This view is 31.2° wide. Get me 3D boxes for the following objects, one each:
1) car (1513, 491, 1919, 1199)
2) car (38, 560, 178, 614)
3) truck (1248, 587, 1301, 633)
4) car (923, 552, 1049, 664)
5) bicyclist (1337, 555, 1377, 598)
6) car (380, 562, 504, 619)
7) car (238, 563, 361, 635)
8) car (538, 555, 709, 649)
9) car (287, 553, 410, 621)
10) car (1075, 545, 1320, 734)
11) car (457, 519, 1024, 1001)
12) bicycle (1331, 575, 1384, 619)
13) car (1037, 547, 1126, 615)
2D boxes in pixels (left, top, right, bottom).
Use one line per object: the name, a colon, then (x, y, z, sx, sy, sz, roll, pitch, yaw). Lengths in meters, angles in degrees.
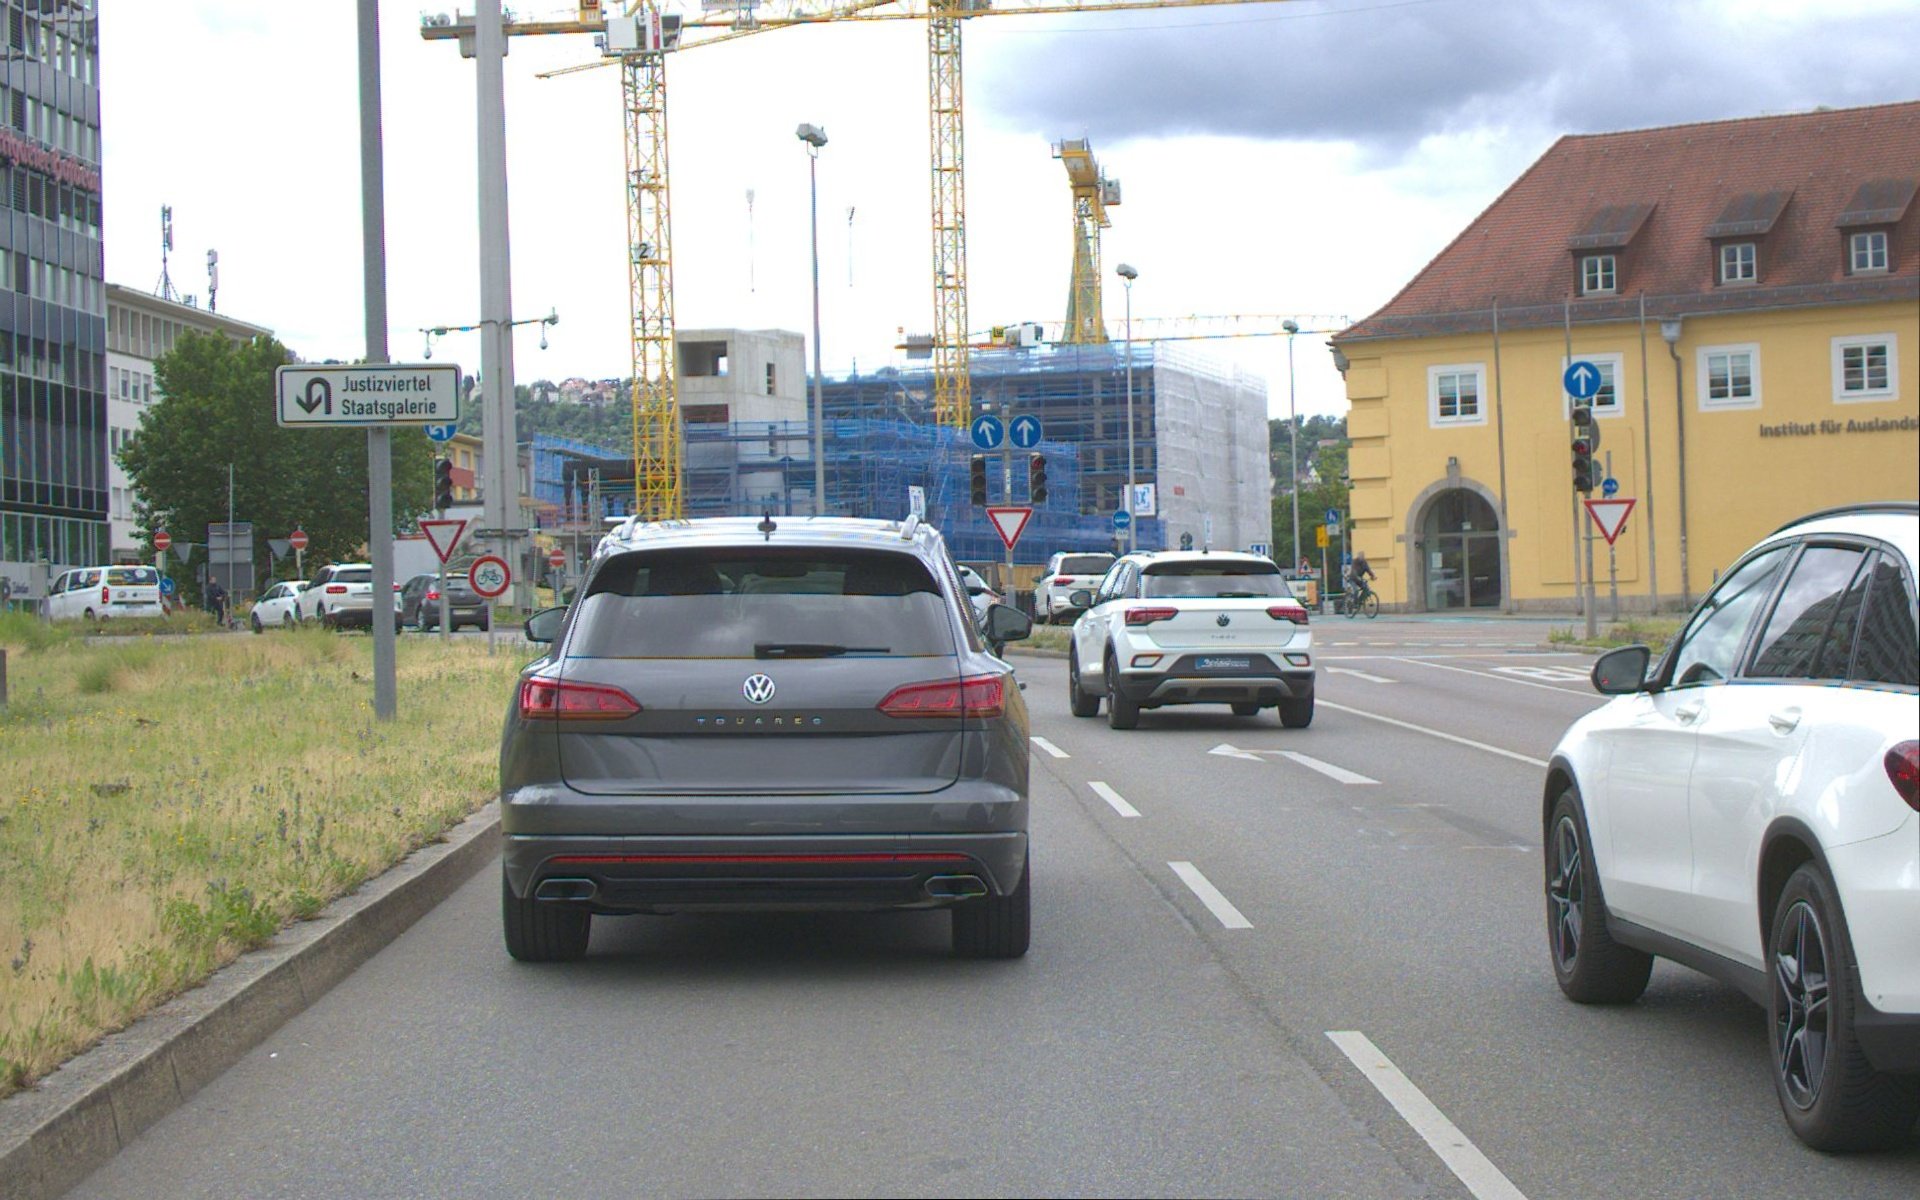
car: (2.909, 0.529, 9.848, 1.819, 1.641, 4.379, 0, 1, -2)
car: (-24.664, -0.398, 99.429, 2.245, 1.497, 4.610, -1, 1, -38)
truck: (17.178, 0.528, 187.557, 2.129, 2.445, 4.824, 0, 1, 14)
car: (0.364, 0.084, 49.128, 1.719, 1.497, 4.144, 0, 1, 0)
bicyclist: (10.726, -0.640, 92.918, 0.923, 1.155, 0.725, 0, 0, -5)
car: (-12.922, -0.252, 85.716, 1.640, 1.392, 3.597, -1, 1, -35)
car: (-18.850, -0.054, 97.984, 1.894, 1.605, 4.000, -4, 7, -36)
car: (-5.141, 0.013, 52.096, 1.792, 1.352, 4.071, -1, 0, -17)
car: (-14.087, -0.321, 79.094, 1.814, 1.491, 3.907, -1, 1, -25)
car: (2.085, 0.304, 31.163, 1.893, 1.580, 3.801, 0, 1, -1)
car: (-0.789, 0.509, 13.804, 1.933, 1.641, 4.000, 0, 1, -1)
bicycle: (10.724, -0.095, 92.919, 0.923, 1.155, 2.465, 0, 1, -5)
car: (2.758, -0.454, 78.757, 1.803, 1.497, 3.981, 0, 1, -1)
